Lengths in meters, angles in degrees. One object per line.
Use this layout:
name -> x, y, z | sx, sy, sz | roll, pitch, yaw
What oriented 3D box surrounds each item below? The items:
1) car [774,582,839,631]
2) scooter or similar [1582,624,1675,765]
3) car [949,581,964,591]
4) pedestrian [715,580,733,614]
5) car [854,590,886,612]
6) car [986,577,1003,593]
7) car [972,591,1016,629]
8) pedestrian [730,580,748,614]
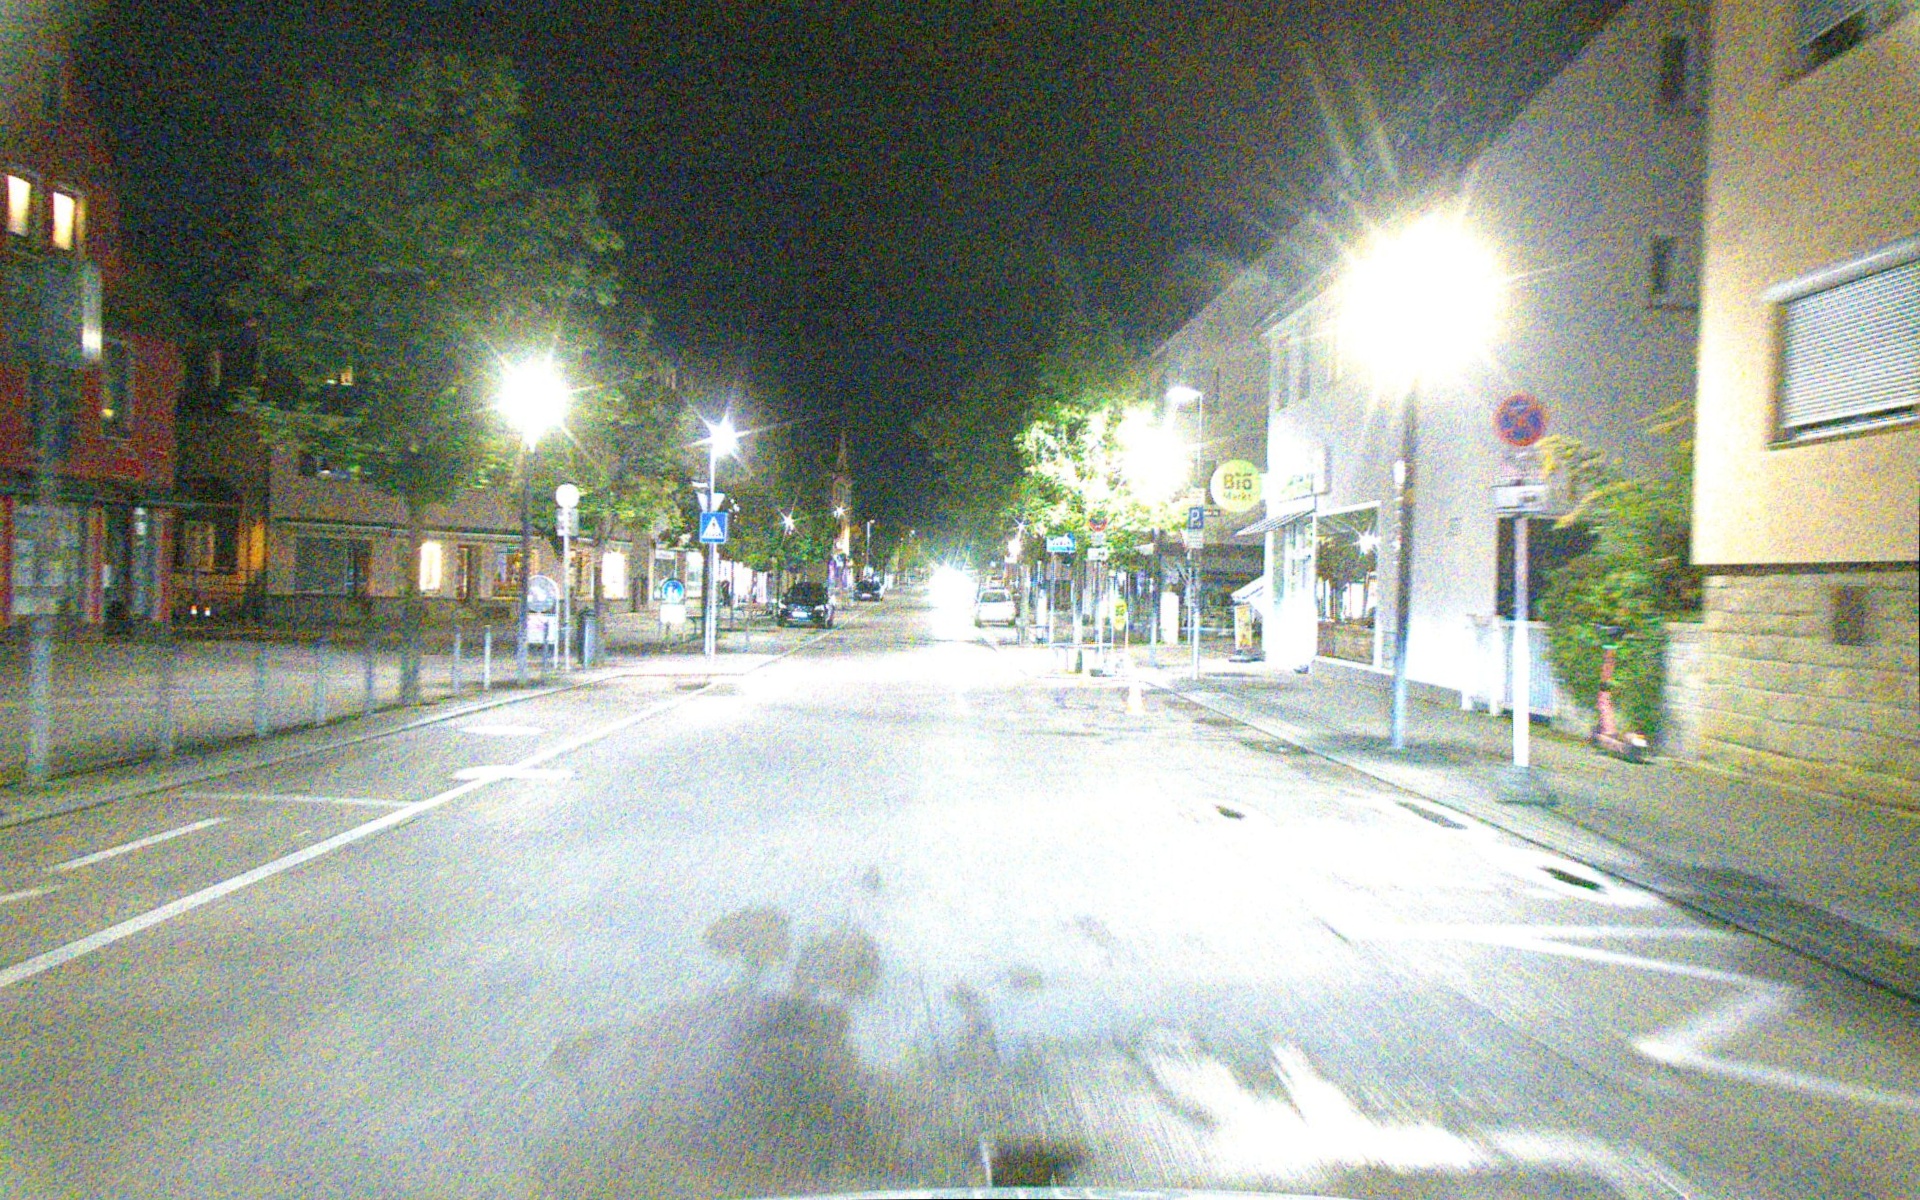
car -> -5.894, 0.205, 63.924 | 1.976, 1.720, 5.003 | 3, 0, 0
scooter or similar -> 6.415, 0.883, 15.914 | 0.365, 1.299, 1.305 | 1, -1, 0
car -> -0.446, -1.718, 203.753 | 1.687, 1.268, 4.238 | 1, 1, 1
pedestrian -> -12.014, -0.154, 84.245 | 0.753, 1.684, 0.817 | 1, 2, 1
car -> -6.403, 0.048, 118.042 | 1.875, 1.394, 4.458 | 1, 1, 1
car -> 3.547, -1.571, 171.559 | 1.739, 1.681, 4.365 | 1, 1, 1
car -> 1.401, 0.400, 69.596 | 1.641, 1.485, 3.674 | 1, 0, -2
pedestrian -> -11.249, -0.136, 84.239 | 0.753, 1.684, 0.782 | 1, 2, 1
